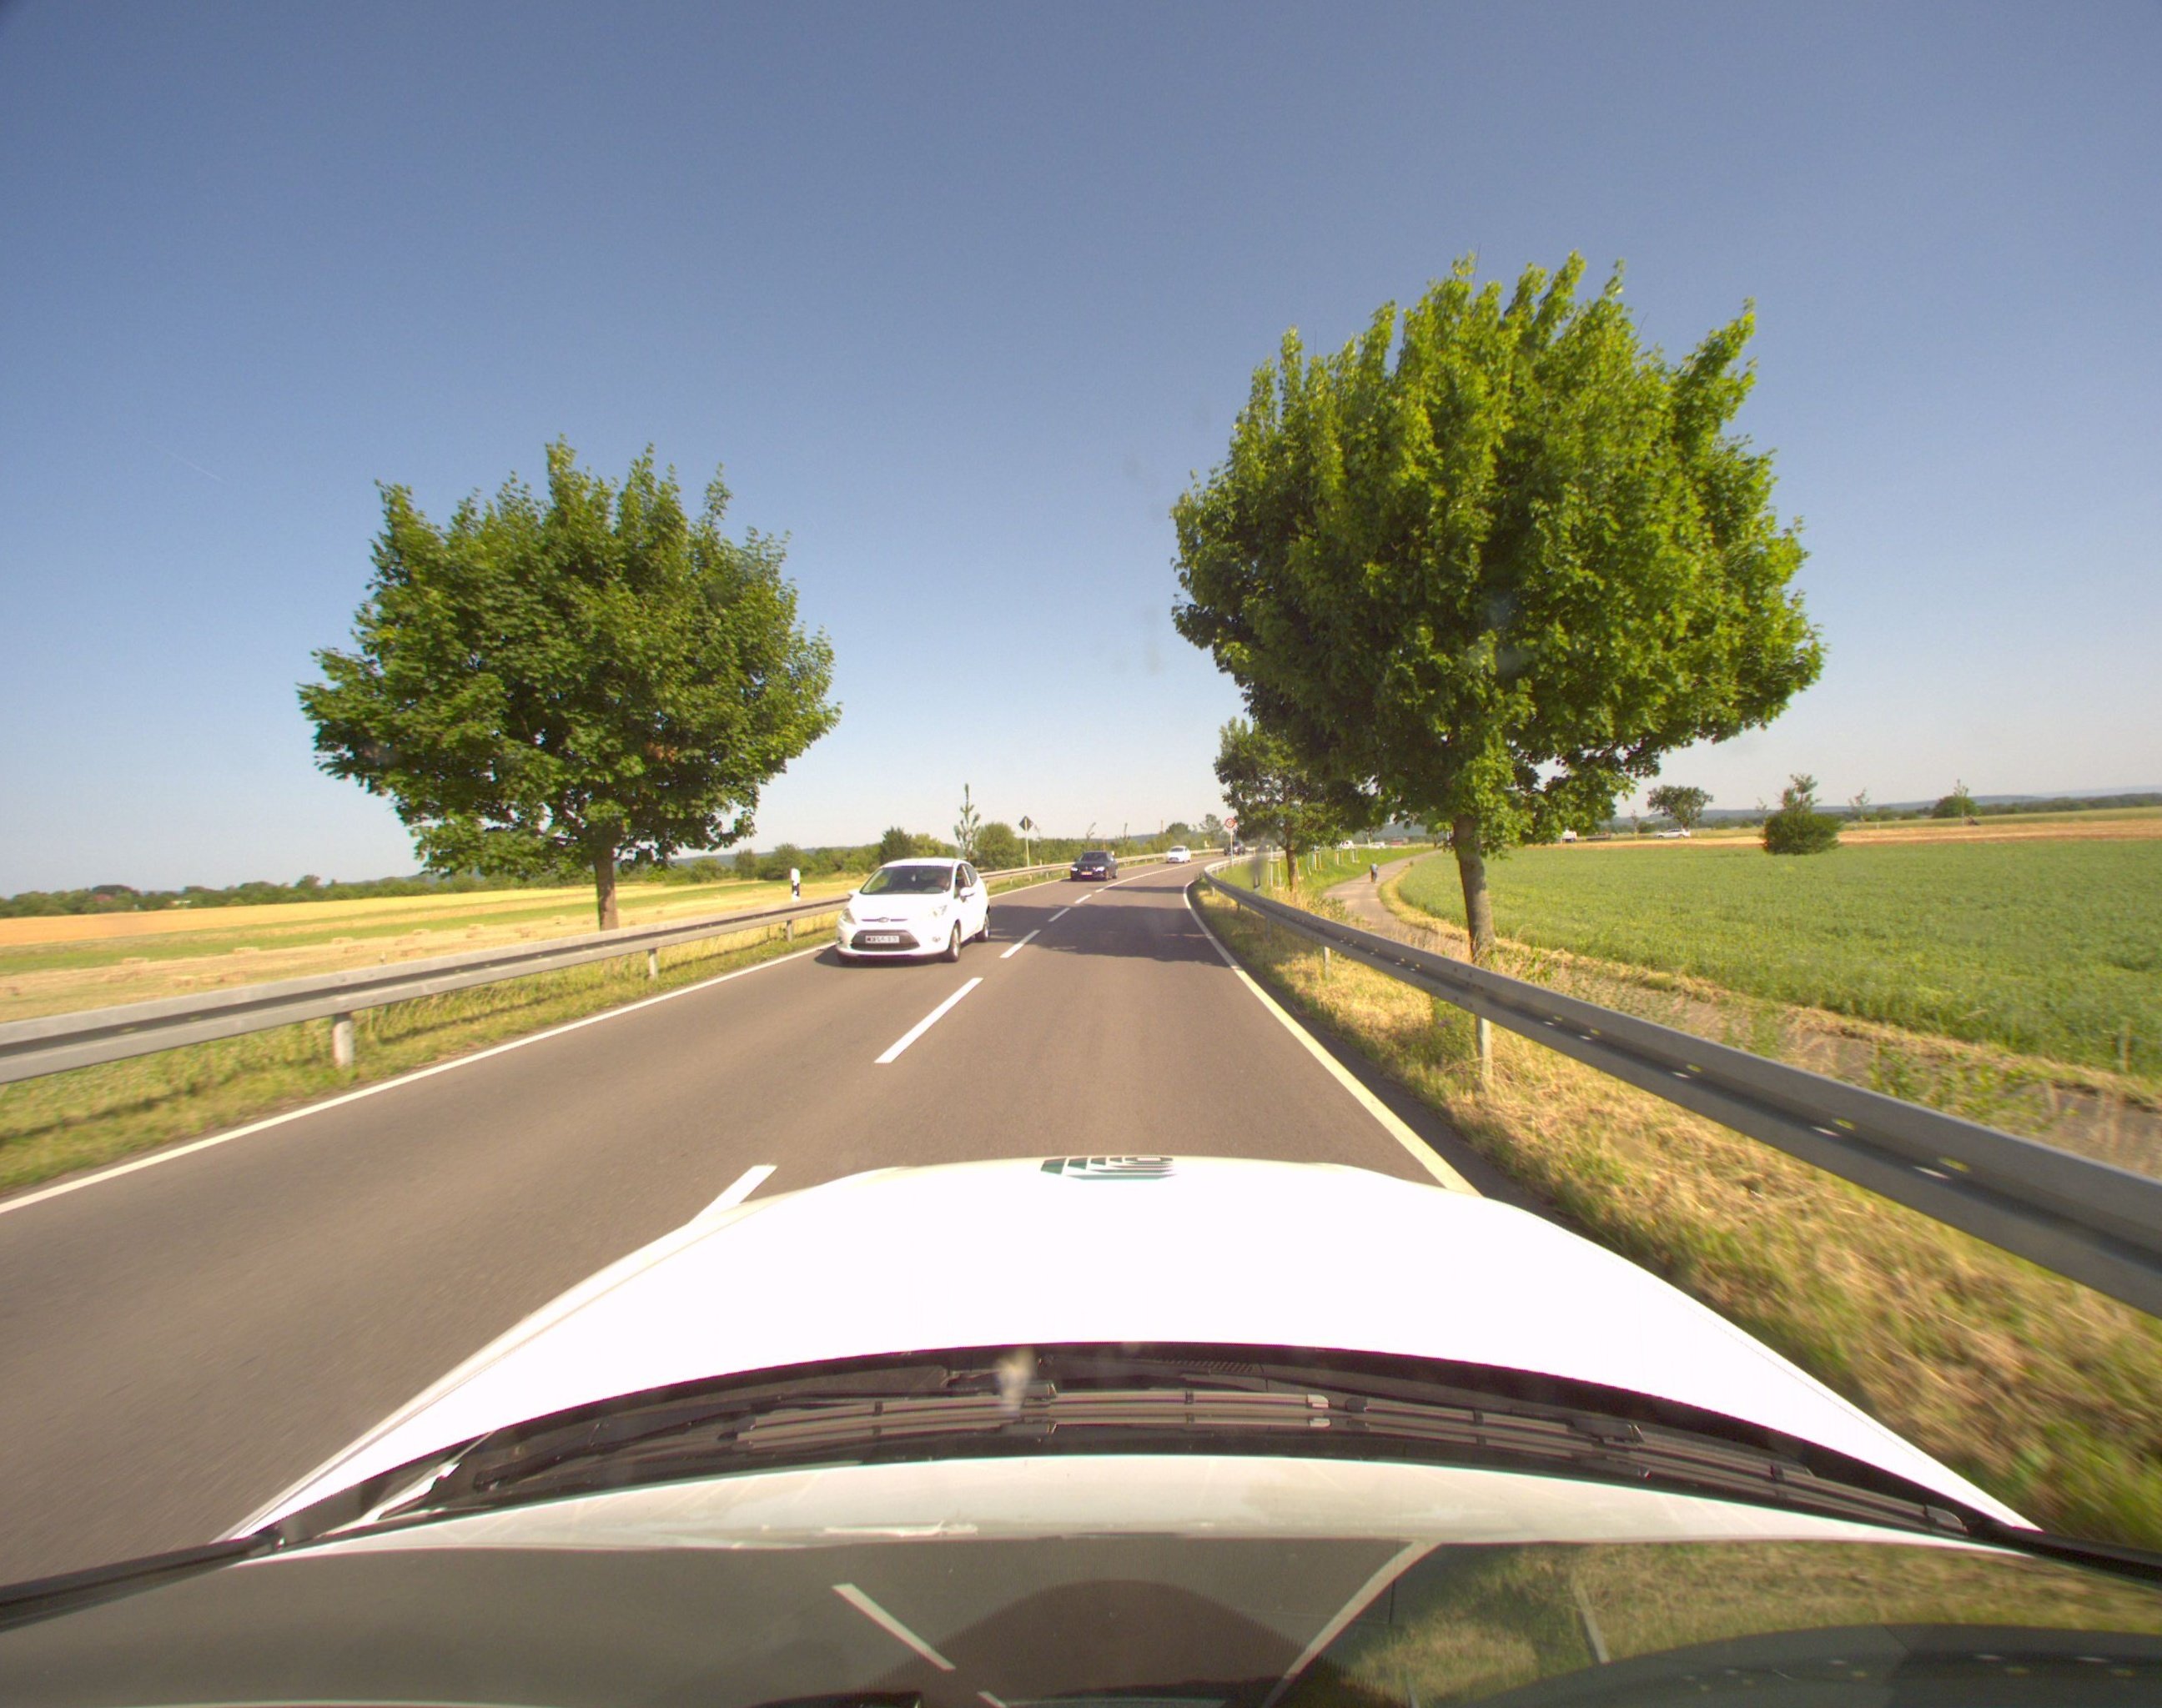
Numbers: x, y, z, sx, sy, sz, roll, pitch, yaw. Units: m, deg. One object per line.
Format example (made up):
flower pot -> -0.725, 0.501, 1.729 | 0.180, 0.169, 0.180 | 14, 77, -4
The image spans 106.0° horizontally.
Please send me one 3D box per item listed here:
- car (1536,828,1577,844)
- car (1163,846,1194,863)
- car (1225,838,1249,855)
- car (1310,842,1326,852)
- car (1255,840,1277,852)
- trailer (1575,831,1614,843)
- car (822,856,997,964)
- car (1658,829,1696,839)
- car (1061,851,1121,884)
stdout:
car -> 82.628, -3.109, 141.515 | 5.900, 2.492, 2.012 | -1, -1, 40
car -> 8.648, 0.005, 72.251 | 1.838, 1.449, 4.174 | -1, 0, 19
car -> 18.351, -0.828, 95.830 | 1.866, 1.798, 5.118 | -1, -1, 21
car -> 42.528, -1.256, 146.086 | 1.778, 1.448, 4.735 | -1, 3, 27
car -> 26.257, -1.116, 115.514 | 1.975, 1.592, 4.891 | -1, 1, 25
trailer -> 86.928, -2.893, 137.868 | 5.210, 1.753, 1.966 | -3, -1, 40
car -> -2.484, 0.747, 12.760 | 1.744, 1.429, 3.849 | 0, 0, 3
car -> 95.995, -3.225, 131.154 | 4.821, 1.510, 2.013 | -1, -1, 37
car -> 0.568, 0.669, 39.962 | 1.823, 1.544, 4.263 | -1, -1, 17
